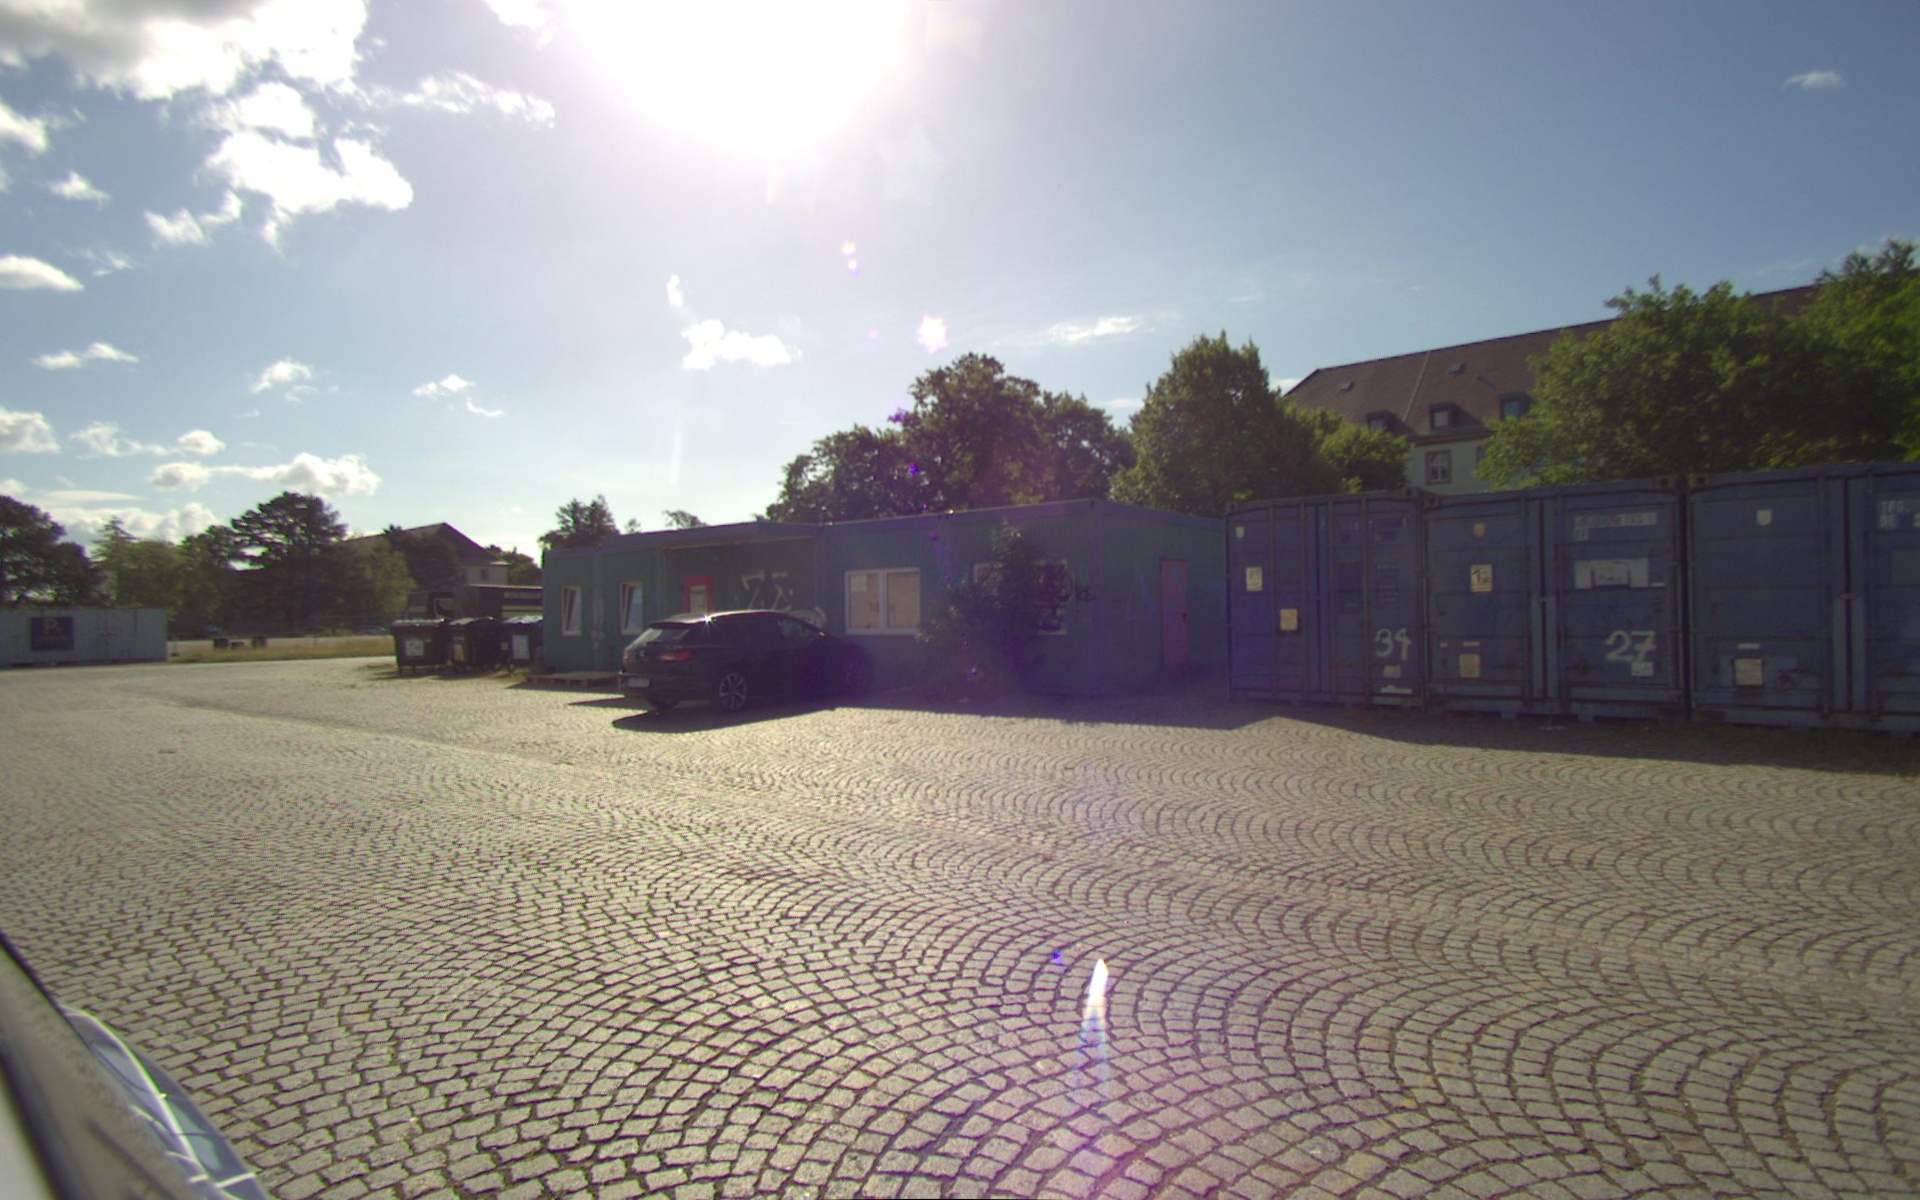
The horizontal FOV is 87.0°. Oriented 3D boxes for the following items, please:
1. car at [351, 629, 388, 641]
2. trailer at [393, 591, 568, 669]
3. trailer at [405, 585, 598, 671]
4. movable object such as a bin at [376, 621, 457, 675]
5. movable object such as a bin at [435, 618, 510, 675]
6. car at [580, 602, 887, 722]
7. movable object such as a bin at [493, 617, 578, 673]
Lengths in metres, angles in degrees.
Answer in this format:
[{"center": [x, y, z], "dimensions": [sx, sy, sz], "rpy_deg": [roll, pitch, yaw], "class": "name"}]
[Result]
[{"center": [-80.931, 4.759, 138.693], "dimensions": [1.996, 1.594, 3.951], "rpy_deg": [-2, -1, 36], "class": "car"}, {"center": [-15.275, 0.920, 32.449], "dimensions": [2.136, 2.315, 4.606], "rpy_deg": [-2, -1, 41], "class": "trailer"}, {"center": [-13.684, 0.802, 30.485], "dimensions": [2.092, 2.372, 4.914], "rpy_deg": [-2, -1, 36], "class": "trailer"}, {"center": [-14.755, 1.287, 27.528], "dimensions": [1.513, 1.397, 1.387], "rpy_deg": [-1, -1, -4], "class": "movable object such as a bin"}, {"center": [-12.782, 1.206, 26.553], "dimensions": [1.535, 1.433, 1.282], "rpy_deg": [-2, -1, 42], "class": "movable object such as a bin"}, {"center": [-3.340, 0.847, 15.699], "dimensions": [1.997, 1.475, 4.374], "rpy_deg": [-2, 0, 37], "class": "car"}, {"center": [-10.969, 1.147, 26.158], "dimensions": [1.529, 1.397, 1.373], "rpy_deg": [-2, -1, 29], "class": "movable object such as a bin"}]
